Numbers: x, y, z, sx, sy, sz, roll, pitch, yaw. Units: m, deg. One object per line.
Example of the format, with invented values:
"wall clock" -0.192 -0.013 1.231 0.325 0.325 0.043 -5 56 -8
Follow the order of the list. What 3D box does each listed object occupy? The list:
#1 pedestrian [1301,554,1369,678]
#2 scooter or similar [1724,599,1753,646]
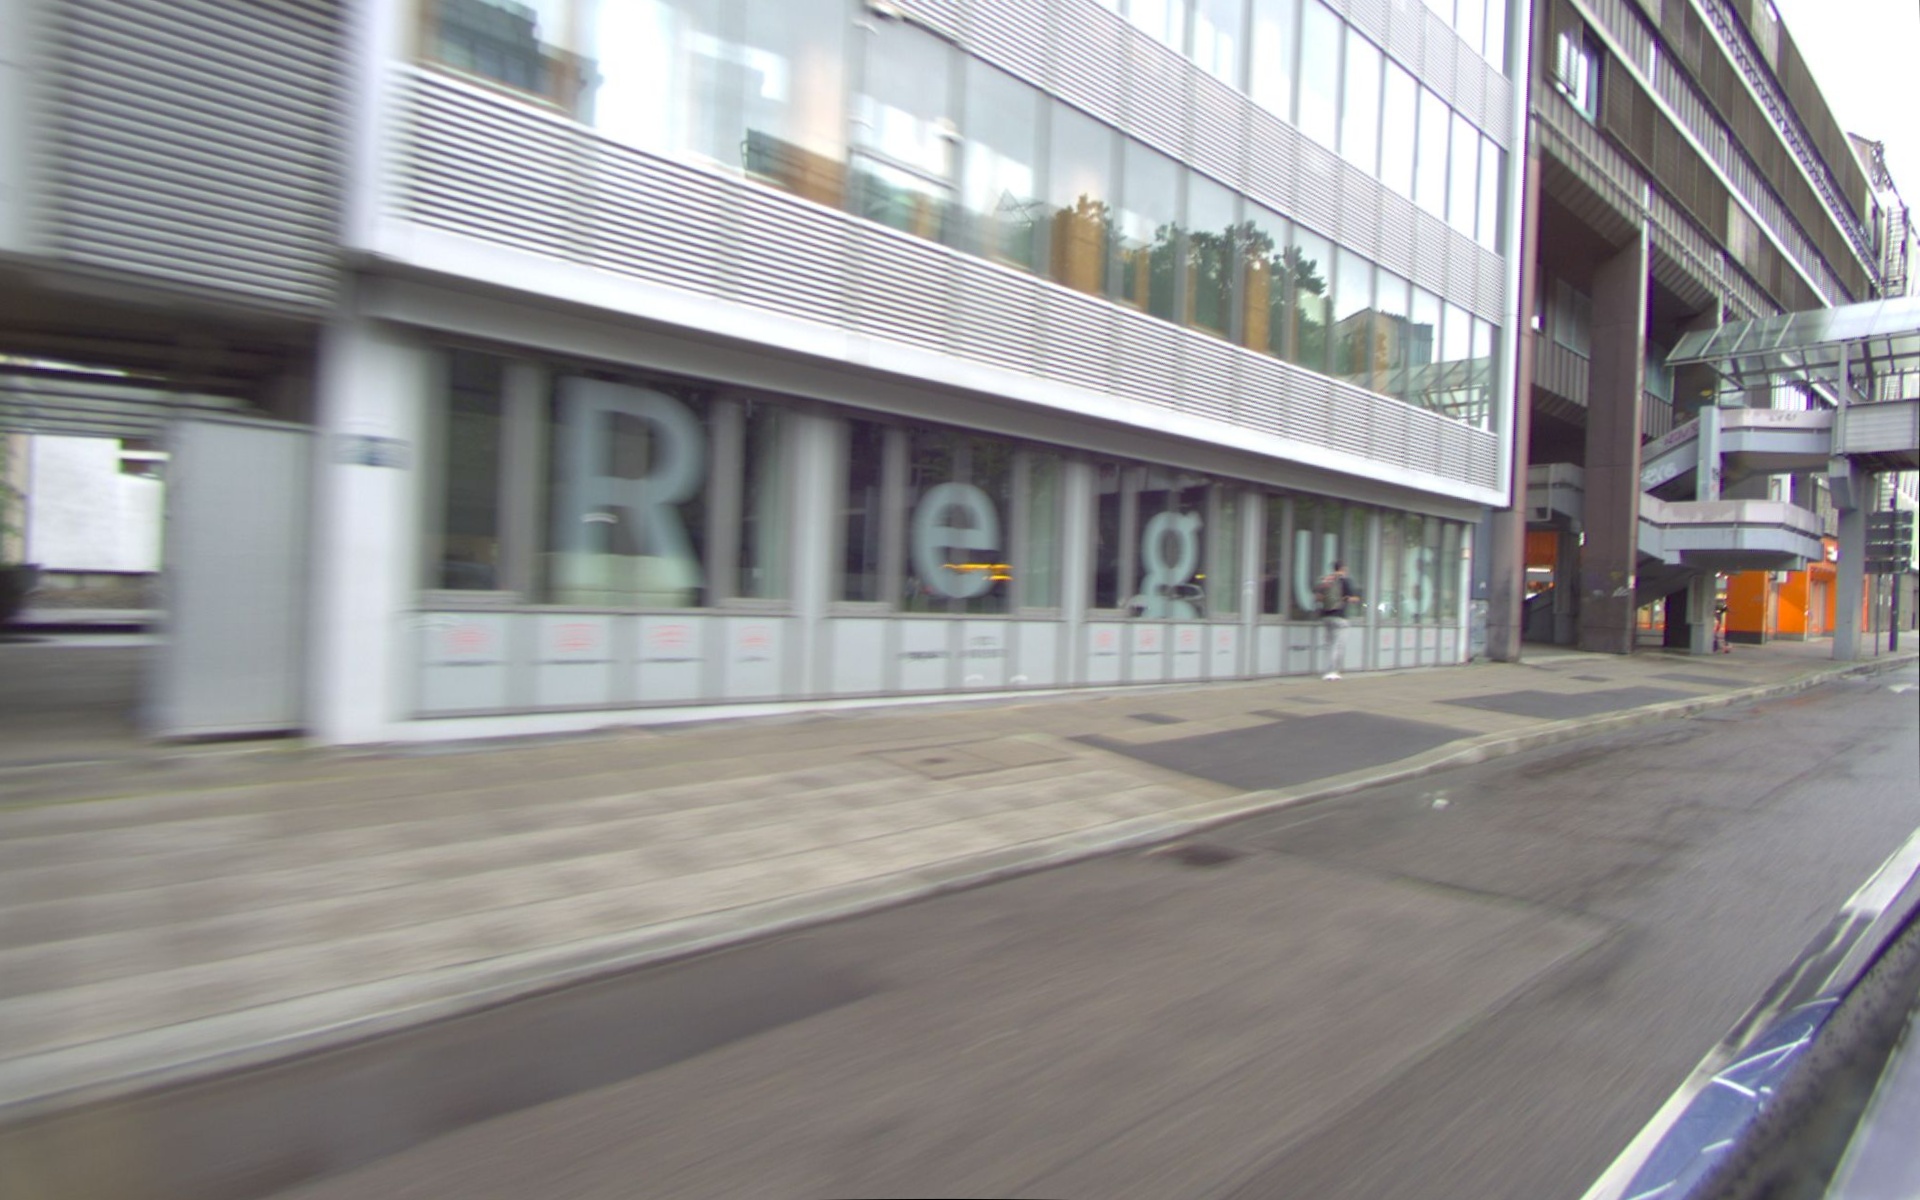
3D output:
"pedestrian" 5.611 0.215 15.152 0.776 1.794 0.636 0 1 -40
"scooter or similar" 21.282 0.606 27.663 1.370 1.271 0.350 1 0 -41
